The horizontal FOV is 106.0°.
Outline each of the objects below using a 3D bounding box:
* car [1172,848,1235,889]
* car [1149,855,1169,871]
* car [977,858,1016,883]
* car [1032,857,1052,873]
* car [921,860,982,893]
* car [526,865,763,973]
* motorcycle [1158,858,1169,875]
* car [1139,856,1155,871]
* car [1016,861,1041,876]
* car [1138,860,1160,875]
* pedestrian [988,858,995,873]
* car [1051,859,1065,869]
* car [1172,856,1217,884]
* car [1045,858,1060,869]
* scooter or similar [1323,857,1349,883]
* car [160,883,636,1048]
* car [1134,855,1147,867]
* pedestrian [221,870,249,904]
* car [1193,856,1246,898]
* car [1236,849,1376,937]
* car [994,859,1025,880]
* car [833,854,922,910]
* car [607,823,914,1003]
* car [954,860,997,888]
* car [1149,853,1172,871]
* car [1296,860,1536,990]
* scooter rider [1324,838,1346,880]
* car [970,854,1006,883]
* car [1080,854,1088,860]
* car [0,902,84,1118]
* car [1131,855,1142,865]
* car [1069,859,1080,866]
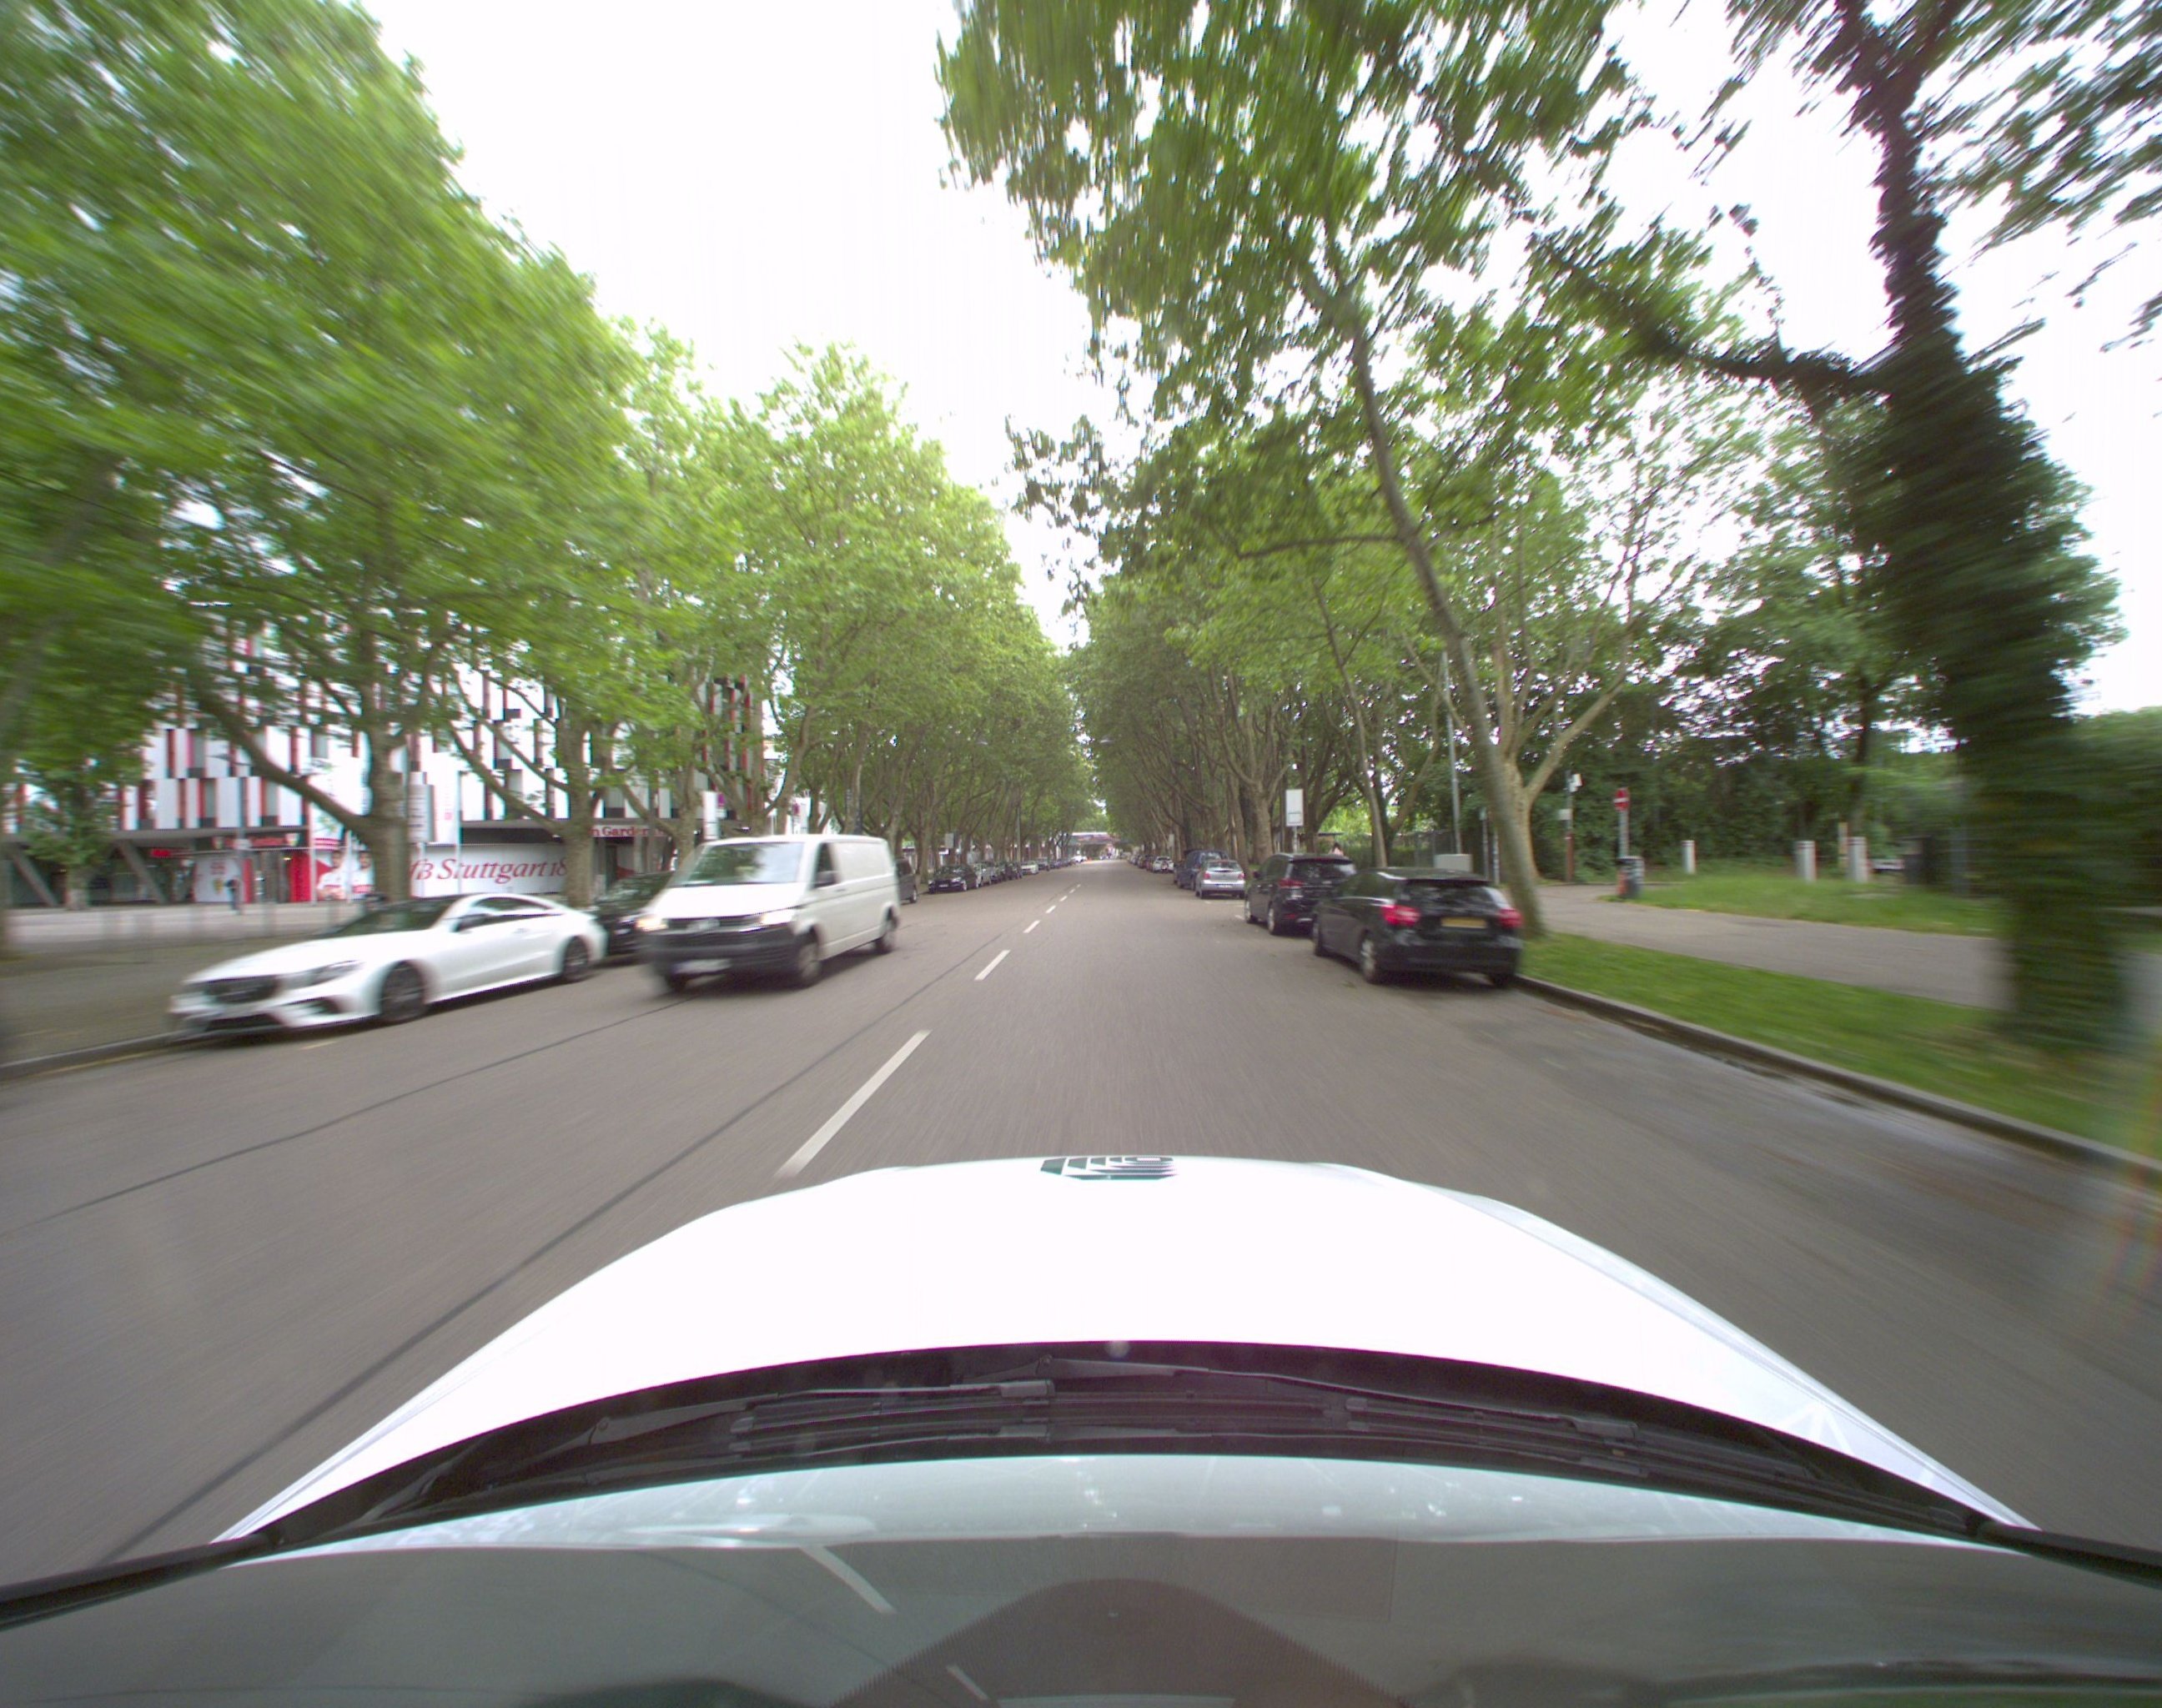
[{"bbox_3d":[5.682,0.642,38.335,1.840,1.783,4.438,1,0,-6],"label":"car"},{"bbox_3d":[7.467,0.876,78.075,1.723,1.470,4.083,1,0,3],"label":"car"},{"bbox_3d":[-6.241,1.202,60.766,1.929,1.643,4.933,-5,0,4],"label":"car"},{"bbox_3d":[-4.657,1.268,97.119,1.942,1.750,4.640,-3,-1,2],"label":"car"},{"bbox_3d":[-6.868,1.161,43.807,2.075,1.530,5.150,-3,0,4],"label":"car"},{"bbox_3d":[-7.983,1.091,15.466,1.809,1.594,4.349,-5,-1,4],"label":"car"},{"bbox_3d":[6.794,1.036,67.102,0.707,1.331,1.998,-1,0,11],"label":"motorcycle"},{"bbox_3d":[7.623,1.086,94.237,1.748,1.620,4.442,0,0,3],"label":"car"},{"bbox_3d":[-5.387,1.453,83.849,1.896,1.403,4.754,-5,-1,2],"label":"car"},{"bbox_3d":[6.810,1.318,81.950,1.711,1.438,4.626,0,0,-2],"label":"car"},{"bbox_3d":[-11.158,1.450,101.168,0.572,1.770,0.771,-2,-1,17],"label":"pedestrian"},{"bbox_3d":[-3.699,1.569,133.400,1.870,1.527,4.154,-2,0,3],"label":"car"},{"bbox_3d":[6.125,0.828,44.283,1.986,1.478,4.373,0,0,2],"label":"car"},{"bbox_3d":[-4.053,1.389,115.498,1.718,1.486,4.577,-2,0,2],"label":"car"},{"bbox_3d":[11.067,0.695,35.366,0.677,1.038,1.468,-4,0,2],"label":"scooter or similar"},{"bbox_3d":[-8.183,1.202,10.622,1.809,1.362,5.007,-3,0,1],"label":"car"},{"bbox_3d":[9.084,1.081,123.981,1.701,1.698,4.631,0,0,1],"label":"car"},{"bbox_3d":[-42.851,1.657,41.258,0.640,1.690,0.694,-2,-1,4],"label":"pedestrian"},{"bbox_3d":[5.201,0.808,30.998,1.612,1.461,3.950,1,0,4],"label":"car"},{"bbox_3d":[4.595,0.712,17.309,1.822,1.602,4.468,1,0,1],"label":"car"},{"bbox_3d":[-5.798,1.219,66.313,1.826,1.494,4.445,-5,0,3],"label":"car"},{"bbox_3d":[-7.496,0.993,30.457,1.888,1.795,4.614,-4,-1,2],"label":"car"},{"bbox_3d":[-4.198,0.658,11.945,2.051,1.961,5.469,-2,0,3],"label":"car"},{"bbox_3d":[-6.351,1.170,49.474,1.826,1.456,4.232,-5,0,2],"label":"car"},{"bbox_3d":[7.013,0.694,72.308,1.729,1.438,4.123,-2,0,1],"label":"car"},{"bbox_3d":[4.385,0.820,11.427,1.769,1.418,4.290,1,0,3],"label":"car"},{"bbox_3d":[11.043,0.210,35.383,0.674,1.800,0.588,-3,-1,2],"label":"scooter rider"},{"bbox_3d":[-6.216,0.971,54.889,1.864,1.718,4.646,-5,0,-1],"label":"car"},{"bbox_3d":[0.868,0.966,240.306,1.989,1.601,3.996,-1,0,-3],"label":"car"},{"bbox_3d":[-8.470,1.142,3.654,1.814,1.484,4.992,-3,0,-1],"label":"car"},{"bbox_3d":[10.277,1.166,150.511,1.895,1.739,4.509,-1,-1,2],"label":"car"},{"bbox_3d":[-1.516,1.856,187.879,2.065,1.563,4.759,-1,0,3],"label":"car"}]
